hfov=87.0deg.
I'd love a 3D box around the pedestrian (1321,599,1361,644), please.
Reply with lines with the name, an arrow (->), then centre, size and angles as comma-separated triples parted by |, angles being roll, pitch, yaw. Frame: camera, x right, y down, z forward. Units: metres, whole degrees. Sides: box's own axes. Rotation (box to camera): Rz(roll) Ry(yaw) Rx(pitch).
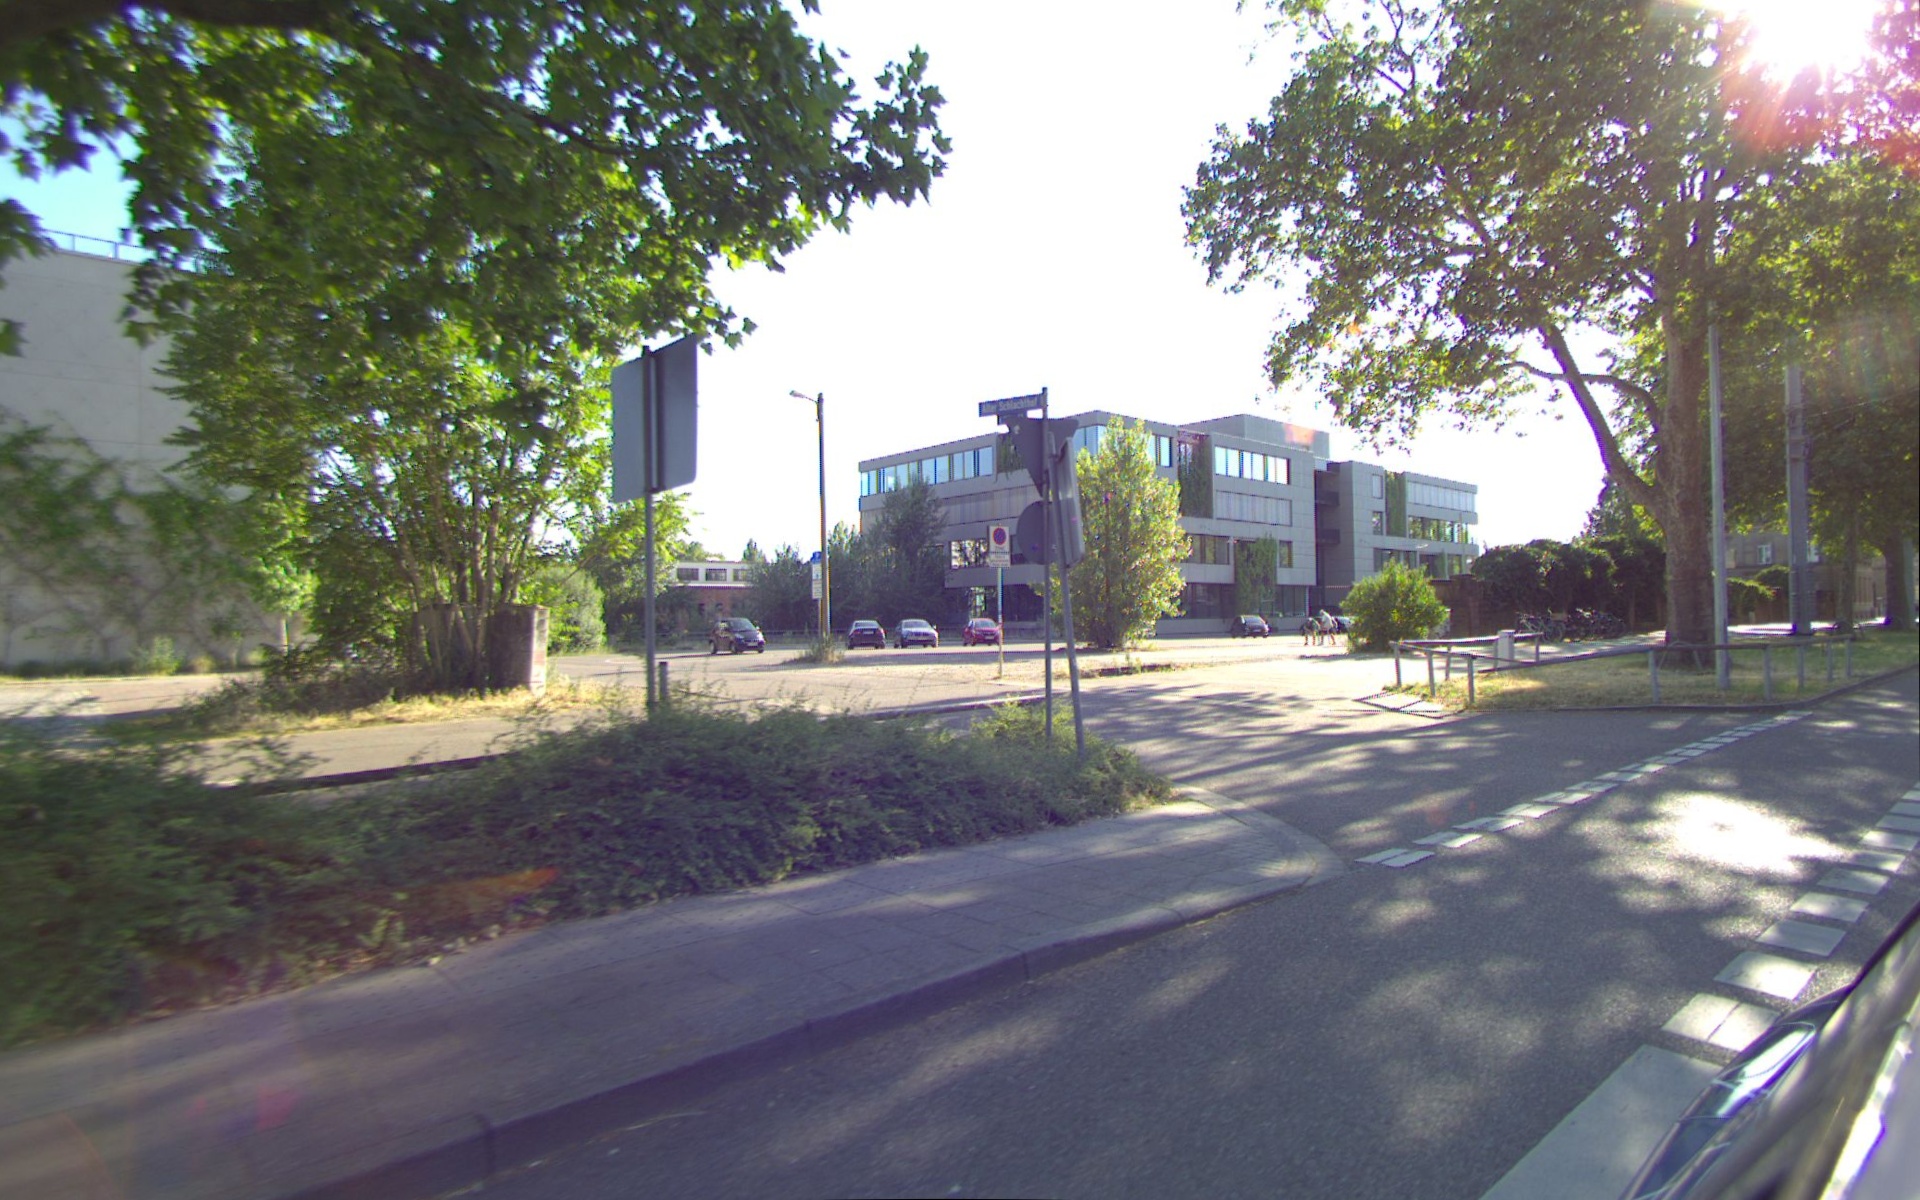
pedestrian -> 17.890, 1.011, 47.544 | 1.028, 2.040, 1.397 | -1, -2, -28

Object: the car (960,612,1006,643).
car -> 1.239, 1.509, 56.027 | 1.844, 1.632, 4.371 | -1, -1, -8

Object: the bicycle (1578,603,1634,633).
bicycle -> 25.062, 0.703, 39.304 | 0.432, 1.134, 1.776 | 0, 0, -41

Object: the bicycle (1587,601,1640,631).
bicycle -> 25.775, 0.619, 39.933 | 0.432, 1.134, 1.690 | 0, 0, -41

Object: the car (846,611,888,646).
car -> -4.704, 1.416, 50.680 | 1.821, 1.632, 4.371 | -1, -1, -8

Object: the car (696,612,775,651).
car -> -10.022, 1.366, 44.938 | 1.825, 1.632, 4.363 | 0, -1, -36

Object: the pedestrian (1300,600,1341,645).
pedestrian -> 16.671, 1.035, 46.792 | 1.028, 2.040, 1.397 | -1, -2, -28

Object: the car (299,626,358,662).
car -> -31.409, 2.154, 50.288 | 1.850, 1.632, 4.358 | 0, -1, -41

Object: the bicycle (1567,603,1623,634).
bicycle -> 24.311, 0.696, 38.747 | 0.432, 1.134, 1.776 | 0, 0, -41

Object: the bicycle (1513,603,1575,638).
bicycle -> 19.749, 0.675, 34.230 | 1.772, 1.134, 0.433 | 0, 0, 43

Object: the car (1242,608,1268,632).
car -> 21.319, 1.435, 73.107 | 1.626, 1.686, 3.649 | -1, -1, 14

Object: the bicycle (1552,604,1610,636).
bicycle -> 22.846, 0.715, 37.234 | 0.432, 1.134, 1.776 | 0, 0, -41

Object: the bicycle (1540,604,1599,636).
bicycle -> 21.951, 0.711, 36.450 | 0.432, 1.134, 1.776 | 0, 0, -41

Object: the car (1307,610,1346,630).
car -> 29.314, 1.564, 81.070 | 1.618, 1.541, 3.667 | -1, -1, -2

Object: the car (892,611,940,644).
car -> -2.328, 1.423, 52.740 | 1.959, 1.609, 4.372 | -1, -1, -9

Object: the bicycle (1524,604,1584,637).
bicycle -> 21.126, 0.709, 36.023 | 0.432, 1.134, 1.776 | 0, 0, -41
